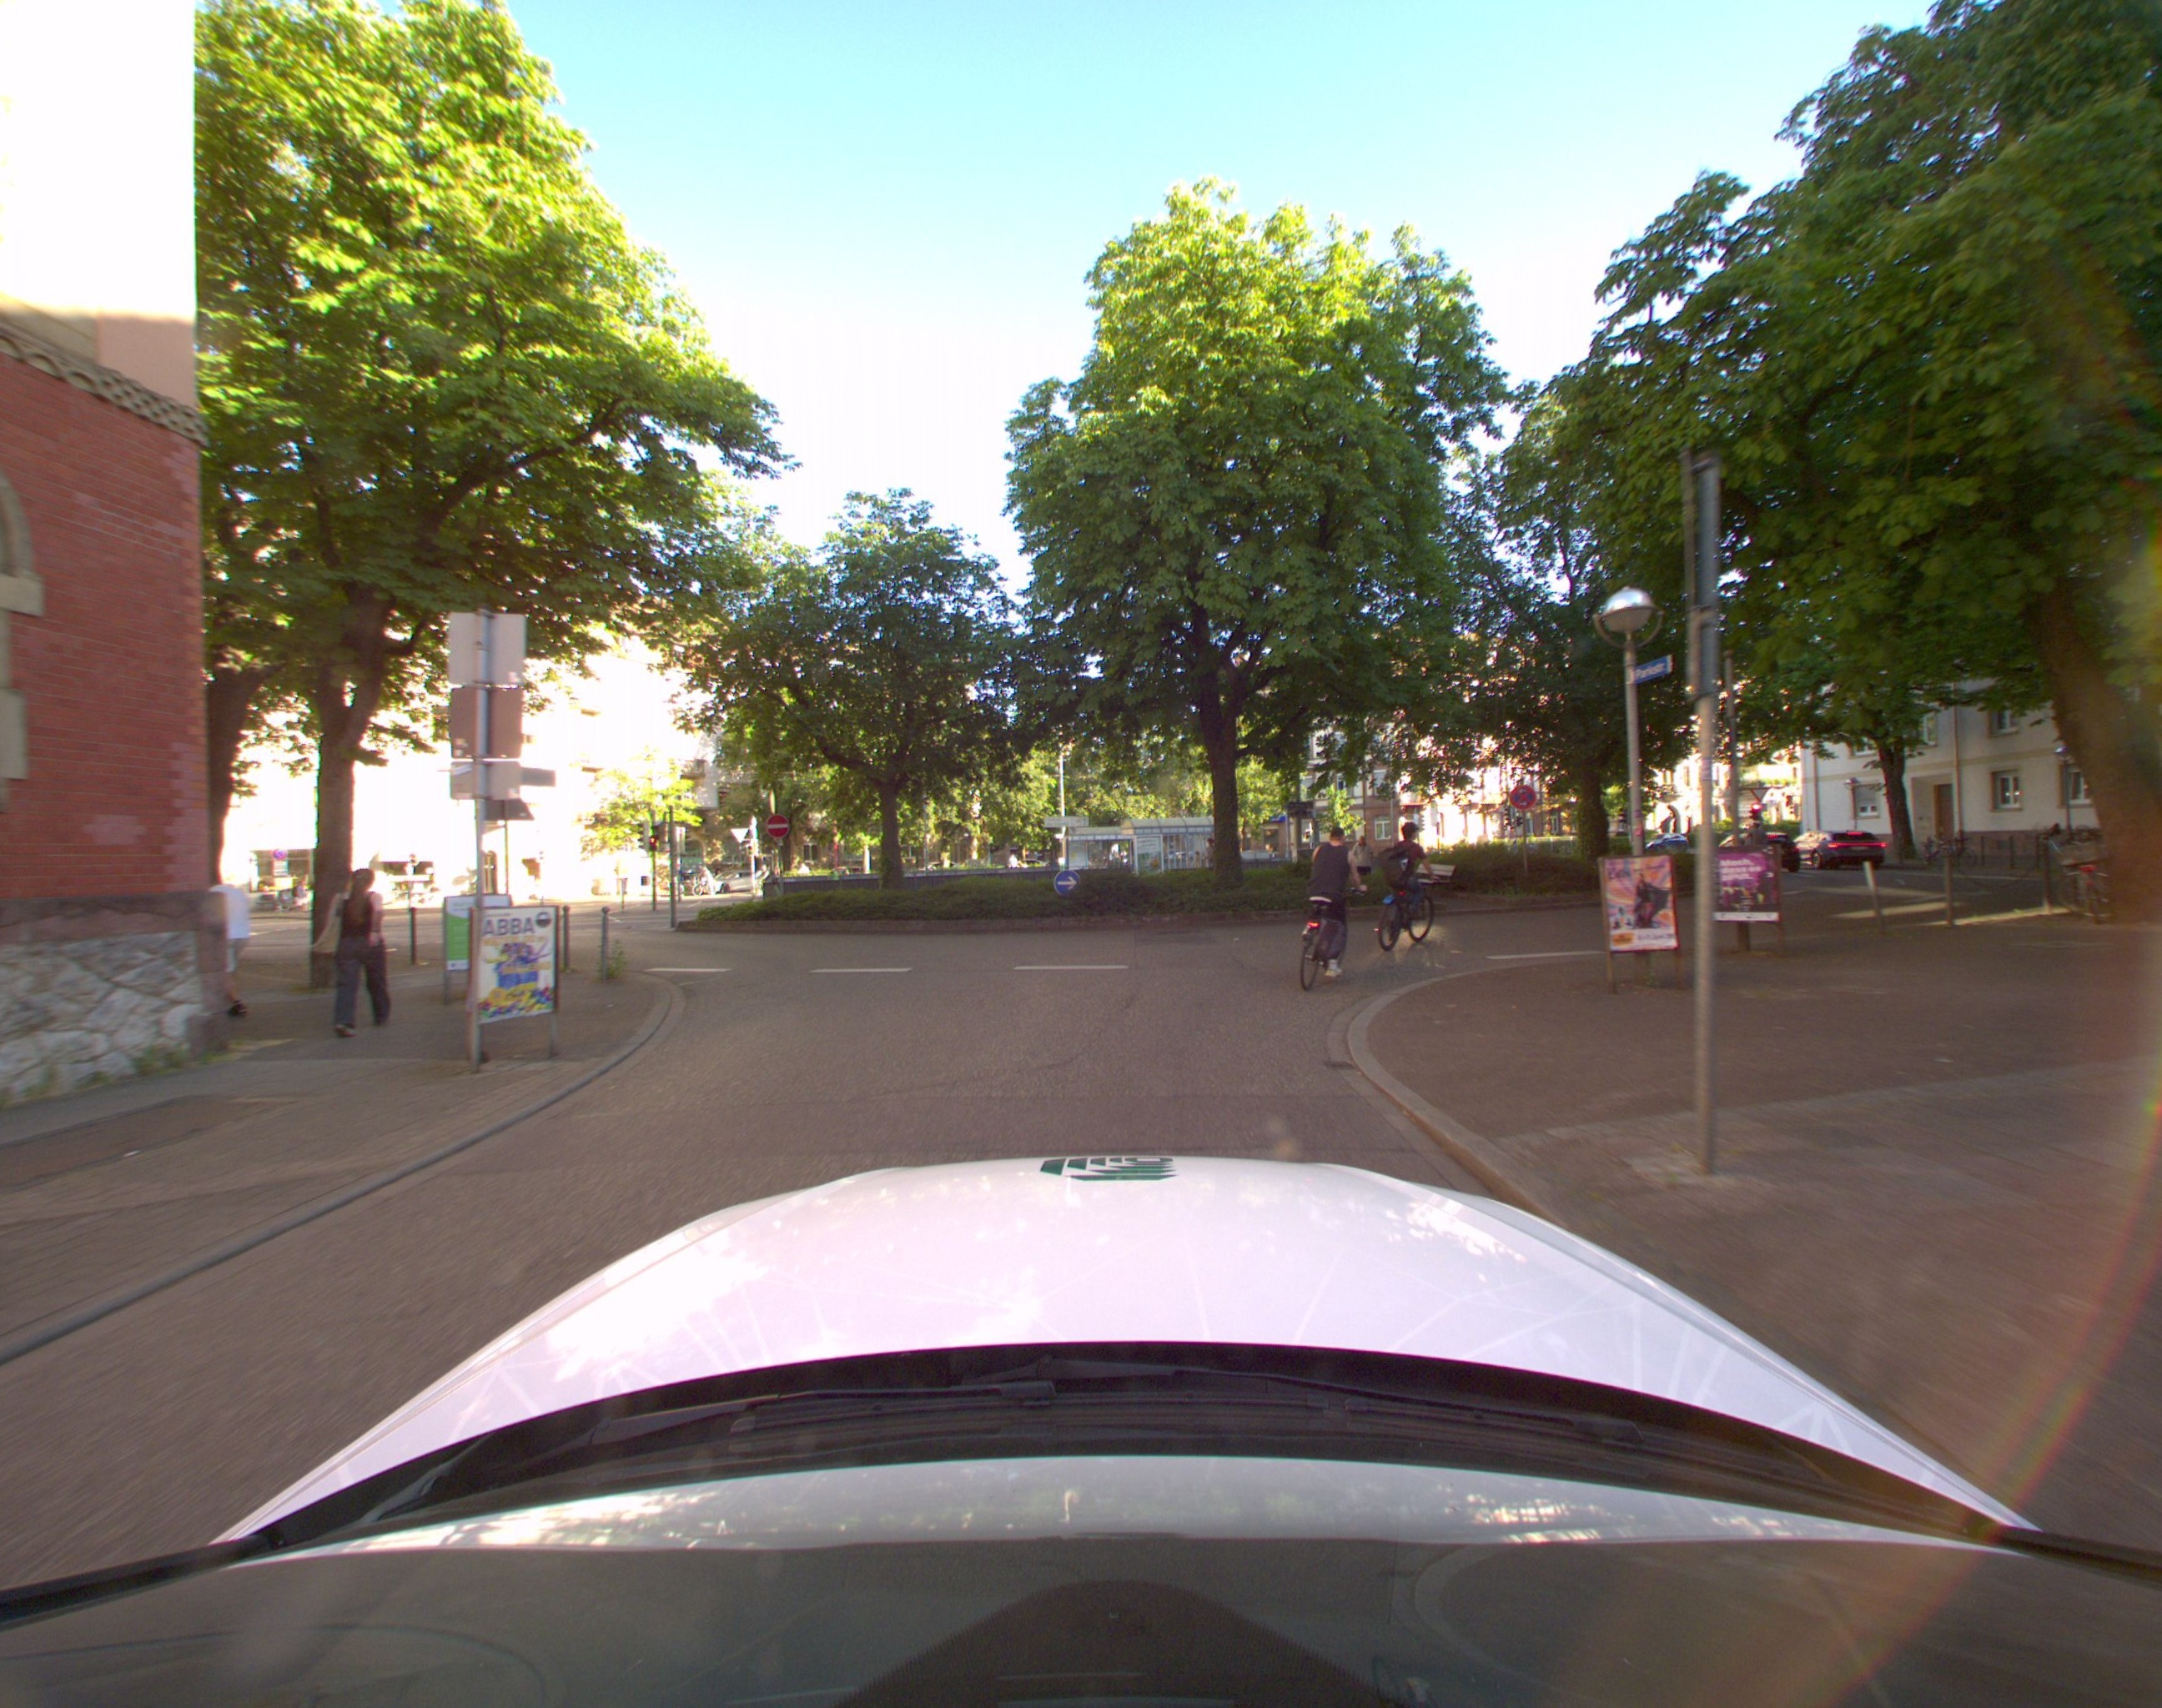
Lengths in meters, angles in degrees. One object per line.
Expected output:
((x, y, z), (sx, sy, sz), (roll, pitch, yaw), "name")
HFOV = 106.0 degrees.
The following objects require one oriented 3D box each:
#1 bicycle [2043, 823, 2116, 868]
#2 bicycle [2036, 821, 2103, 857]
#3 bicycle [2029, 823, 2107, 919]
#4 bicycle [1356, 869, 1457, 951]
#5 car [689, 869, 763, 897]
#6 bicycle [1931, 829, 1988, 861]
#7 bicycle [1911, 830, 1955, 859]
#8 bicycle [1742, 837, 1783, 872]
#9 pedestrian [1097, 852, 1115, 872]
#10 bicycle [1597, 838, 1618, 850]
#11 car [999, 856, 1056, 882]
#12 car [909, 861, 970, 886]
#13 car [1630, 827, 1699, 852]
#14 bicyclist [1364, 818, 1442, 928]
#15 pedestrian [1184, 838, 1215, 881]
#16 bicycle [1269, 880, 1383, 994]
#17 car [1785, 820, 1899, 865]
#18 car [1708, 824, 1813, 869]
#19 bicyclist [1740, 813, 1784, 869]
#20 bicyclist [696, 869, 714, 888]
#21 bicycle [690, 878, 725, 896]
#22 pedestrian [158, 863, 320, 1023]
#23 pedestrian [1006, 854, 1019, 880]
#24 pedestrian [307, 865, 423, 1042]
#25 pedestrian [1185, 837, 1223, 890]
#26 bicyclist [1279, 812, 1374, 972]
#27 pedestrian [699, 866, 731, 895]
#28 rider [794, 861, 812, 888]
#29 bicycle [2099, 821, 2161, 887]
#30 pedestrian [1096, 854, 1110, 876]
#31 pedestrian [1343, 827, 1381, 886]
((26.969, -0.239, 22.038), (0.610, 1.113, 2.005), (-7, -2, 34), "bicycle")
((32.525, -0.498, 26.830), (0.576, 1.114, 2.130), (-4, -1, 28), "bicycle")
((13.367, 0.201, 11.017), (1.799, 1.182, 0.549), (-2, 0, -37), "bicycle")
((4.789, 0.780, 11.906), (0.667, 1.054, 2.074), (-4, -2, 41), "bicycle")
((-21.779, 1.765, 50.093), (1.877, 1.439, 3.729), (-2, 0, 28), "car")
((30.652, -0.314, 28.455), (0.610, 1.058, 1.940), (-5, -1, 26), "bicycle")
((31.279, -0.360, 29.938), (0.515, 0.999, 2.205), (-3, 0, 31), "bicycle")
((24.016, 0.010, 28.739), (0.592, 1.161, 2.053), (-2, 0, 25), "bicycle")
((2.061, 0.654, 66.694), (1.071, 1.630, 0.991), (-2, 0, -45), "pedestrian")
((43.299, -0.827, 67.027), (1.439, 0.861, 0.450), (-2, 0, -3), "bicycle")
((-4.251, 1.184, 64.878), (4.005, 1.870, 1.984), (-3, 0, -24), "car")
((-10.554, 1.435, 60.878), (3.971, 1.679, 1.931), (-3, 0, -42), "car")
((44.173, -1.082, 61.646), (4.373, 1.496, 1.988), (-4, 0, -18), "car")
((4.689, 0.269, 11.839), (0.665, 1.514, 1.076), (-4, -2, 41), "bicyclist")
((5.431, 0.259, 37.359), (1.020, 1.897, 0.906), (-2, 0, -20), "pedestrian")
((2.808, 0.860, 9.168), (0.730, 1.012, 2.074), (-1, 1, 31), "bicycle")
((29.528, -0.447, 31.765), (1.875, 1.577, 4.021), (-3, 0, 22), "car")
((26.504, -0.279, 31.943), (1.798, 1.543, 3.978), (-5, -2, 19), "car")
((24.006, -0.447, 28.728), (0.843, 1.898, 1.146), (-3, 0, 23), "bicyclist")
((-21.829, 1.408, 47.247), (0.604, 1.054, 0.681), (-3, 0, 29), "bicyclist")
((-21.732, 1.907, 47.387), (0.646, 0.945, 1.753), (-3, 0, 29), "bicycle")
((-9.358, 0.946, 9.096), (0.867, 1.643, 0.857), (-2, 0, -11), "pedestrian")
((-4.482, 0.860, 53.151), (0.704, 1.695, 0.666), (0, 0, -20), "pedestrian")
((-7.005, 0.923, 8.008), (0.603, 1.605, 0.847), (-2, 0, -26), "pedestrian")
((4.056, 0.321, 26.815), (0.887, 1.684, 0.825), (-3, 0, 35), "pedestrian")
((2.768, 0.401, 9.141), (0.745, 1.682, 0.919), (-3, 0, 31), "bicyclist")
((-25.329, 1.826, 56.423), (1.244, 1.912, 1.503), (-3, 0, 28), "pedestrian")
((-17.327, 1.263, 50.788), (0.813, 1.681, 0.673), (0, 0, 12), "rider")
((20.005, -0.014, 15.480), (2.010, 1.158, 0.674), (-2, -2, -36), "bicycle")
((1.507, 0.746, 55.566), (0.809, 1.543, 0.818), (0, 0, -10), "pedestrian")
((8.299, 0.073, 24.086), (0.909, 1.684, 0.782), (-3, 0, 12), "pedestrian")
